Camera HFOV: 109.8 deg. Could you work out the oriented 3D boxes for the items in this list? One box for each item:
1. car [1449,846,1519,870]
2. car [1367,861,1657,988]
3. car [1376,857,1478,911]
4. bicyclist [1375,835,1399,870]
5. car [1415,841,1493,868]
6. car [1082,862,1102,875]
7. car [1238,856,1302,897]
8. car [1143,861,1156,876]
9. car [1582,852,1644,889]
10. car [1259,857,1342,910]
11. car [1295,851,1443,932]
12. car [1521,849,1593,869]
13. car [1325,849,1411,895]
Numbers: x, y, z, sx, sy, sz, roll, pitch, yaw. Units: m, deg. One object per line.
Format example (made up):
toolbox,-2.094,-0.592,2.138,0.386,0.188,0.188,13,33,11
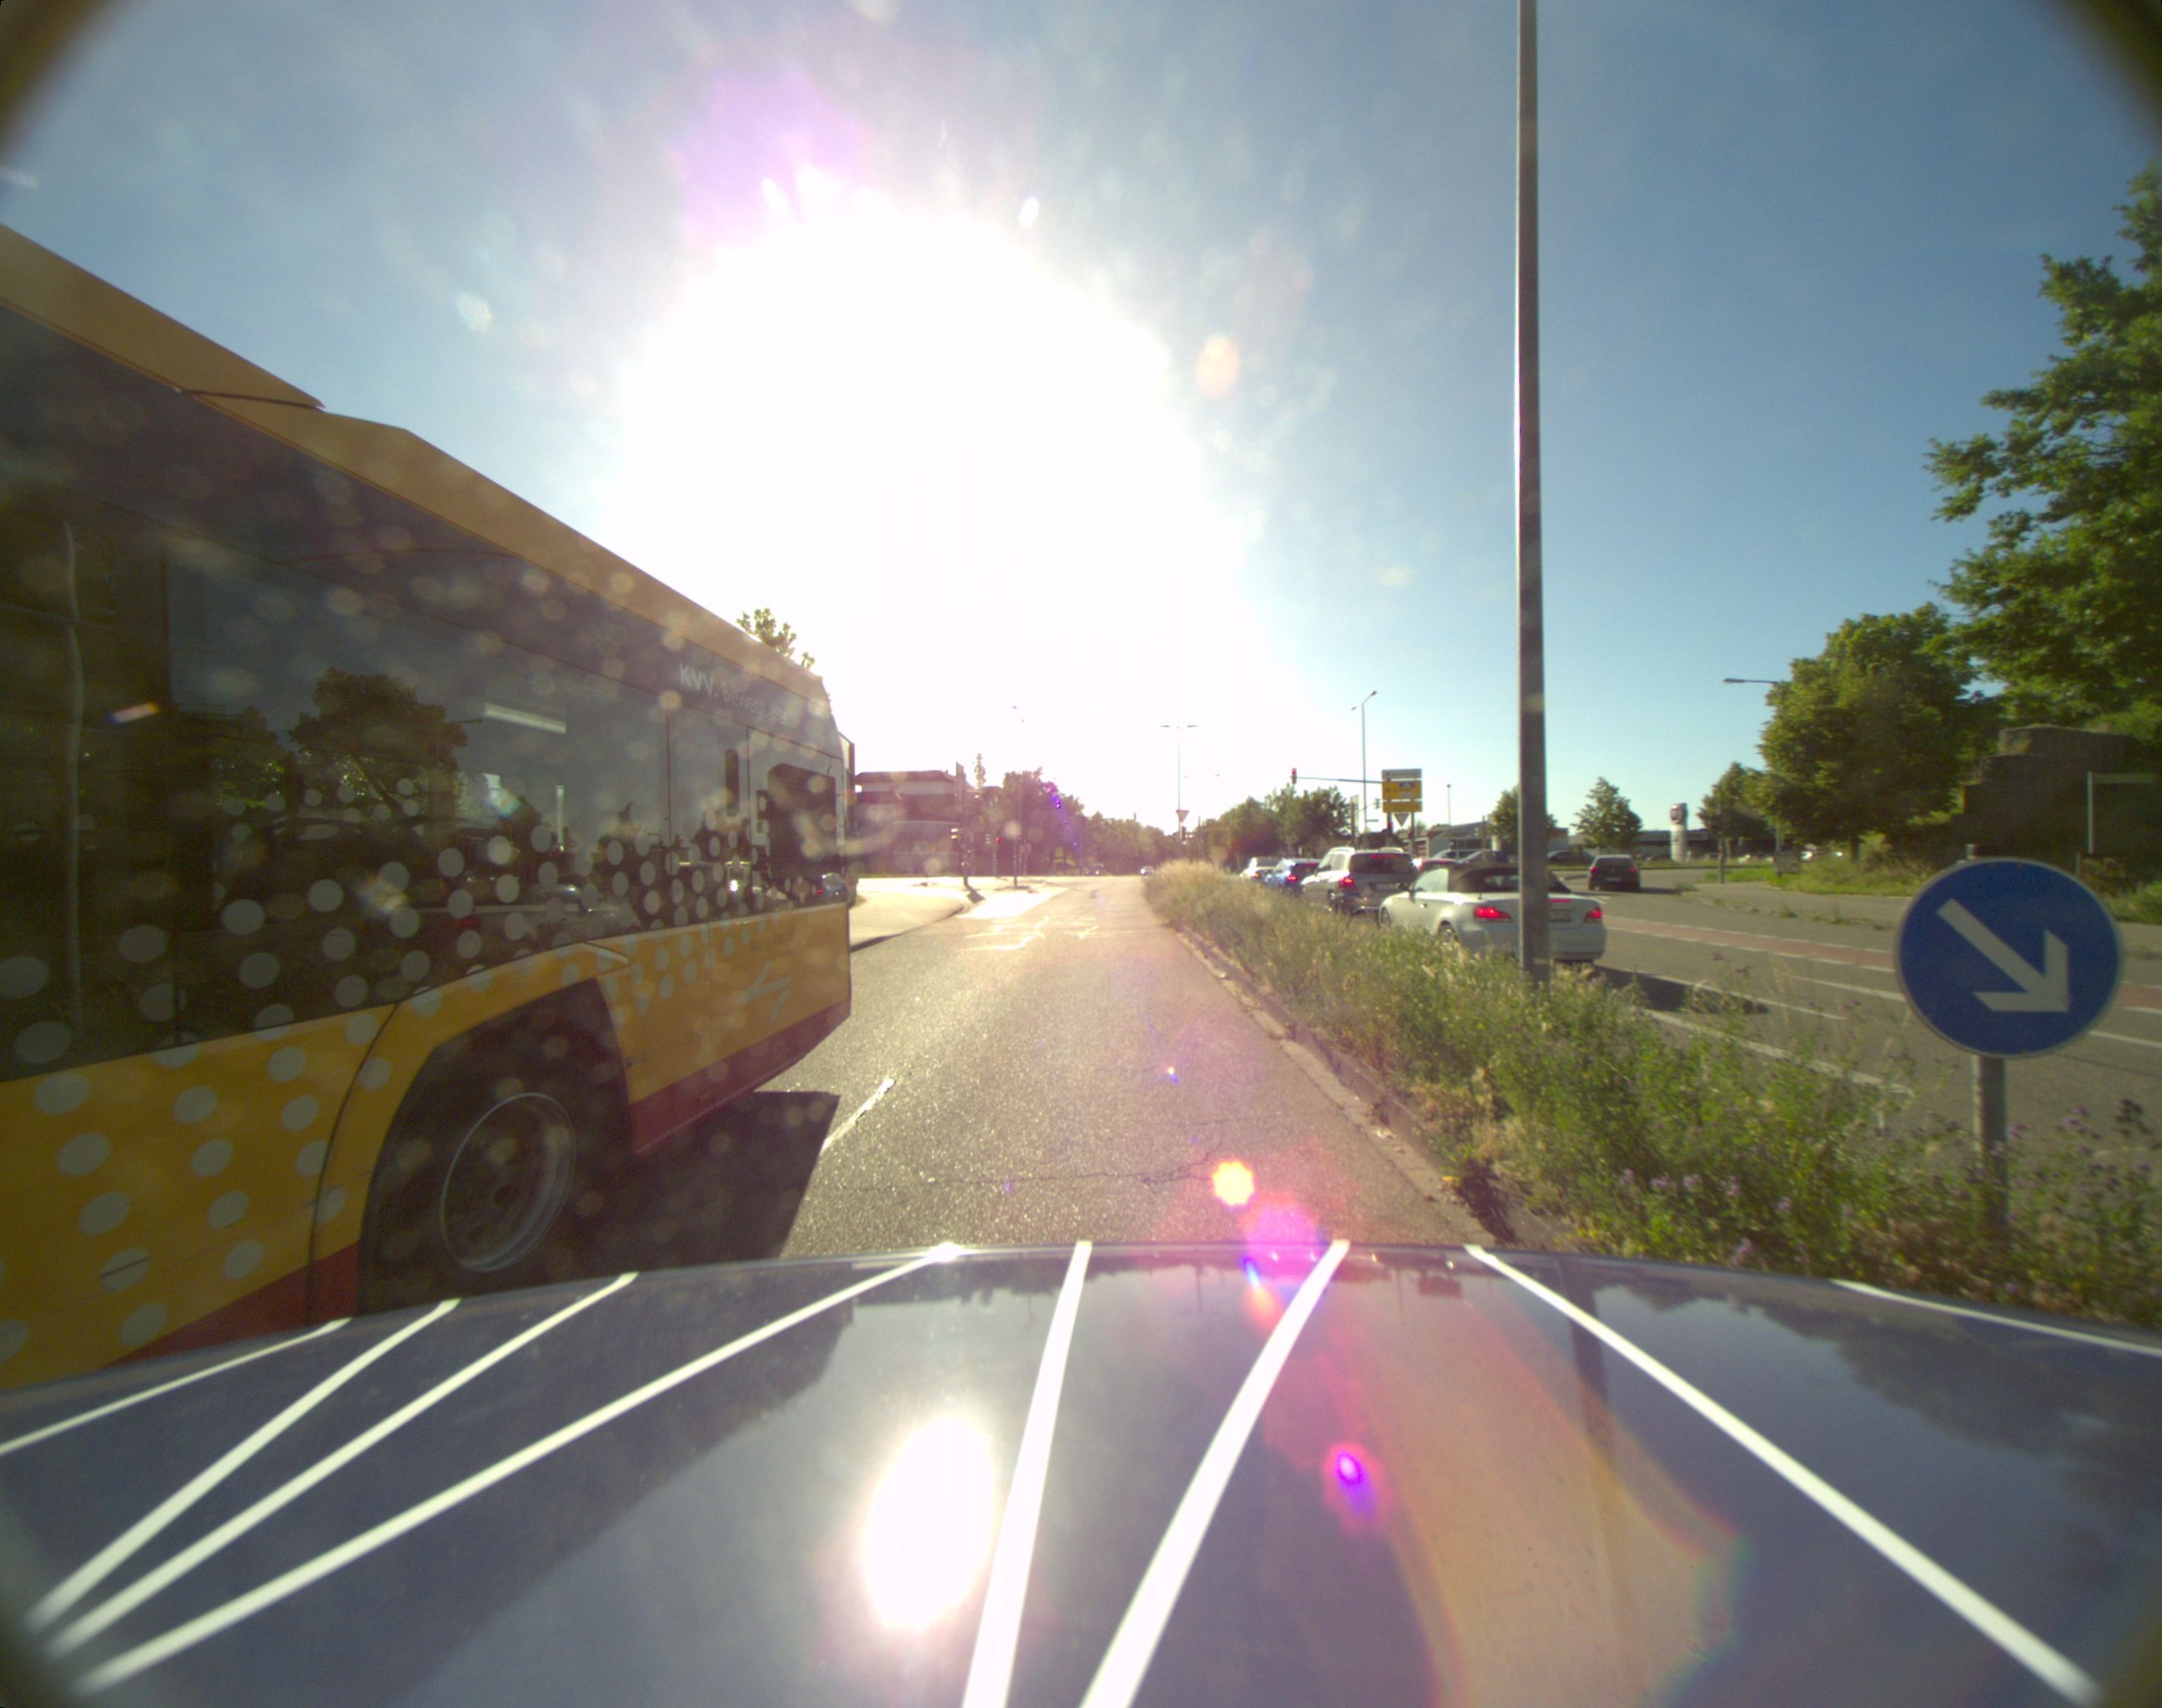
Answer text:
car,29.180,0.292,55.110,4.036,1.634,1.894,-1,-2,1
car,5.820,0.838,11.024,1.998,1.442,4.401,-1,0,5
car,10.218,0.840,22.742,1.649,1.474,3.715,-1,0,5
bicyclist,14.999,-0.076,37.246,0.746,1.692,1.242,-1,0,4
car,30.362,0.059,61.975,5.271,2.001,2.049,-1,-2,1
car,1.255,1.622,87.156,1.775,1.477,4.218,0,-1,8
car,7.421,0.831,30.160,1.797,1.497,4.532,-1,0,5
car,9.755,2.025,108.502,1.729,2.002,4.001,0,0,3
car,22.024,0.646,31.573,1.710,1.422,4.008,1,0,30
car,6.664,0.847,23.454,1.750,1.474,3.889,-1,0,5
car,6.389,0.758,17.471,1.998,1.606,4.532,-1,0,5
car,34.458,0.380,55.072,4.036,1.266,1.894,-1,-2,1
car,11.070,0.673,29.654,1.998,1.634,4.532,-1,0,5
